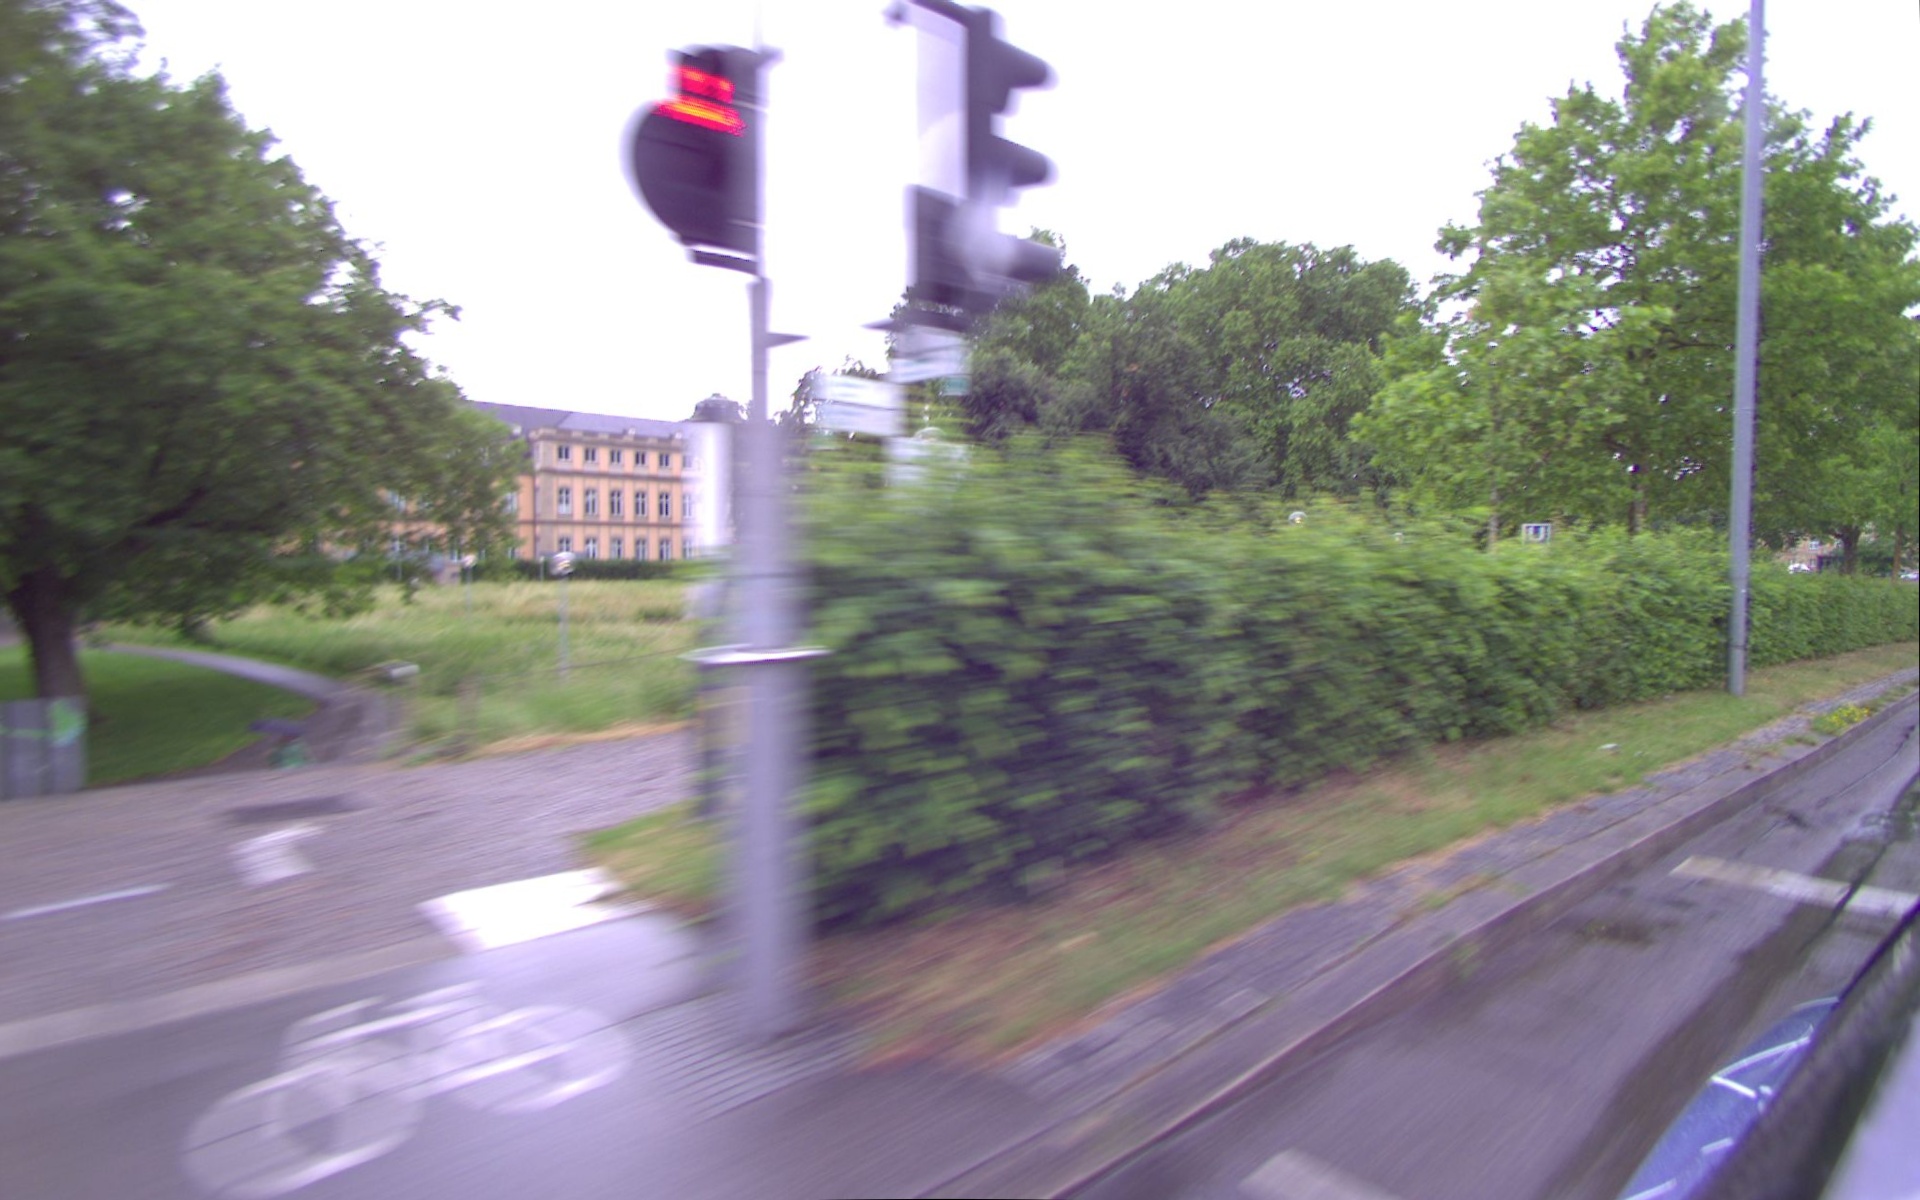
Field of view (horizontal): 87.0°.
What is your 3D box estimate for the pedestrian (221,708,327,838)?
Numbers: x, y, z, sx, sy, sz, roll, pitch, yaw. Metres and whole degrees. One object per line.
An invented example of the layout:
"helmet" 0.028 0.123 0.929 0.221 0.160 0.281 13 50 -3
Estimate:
"pedestrian" -11.051 2.762 16.343 1.008 1.874 0.949 -2 1 -1
